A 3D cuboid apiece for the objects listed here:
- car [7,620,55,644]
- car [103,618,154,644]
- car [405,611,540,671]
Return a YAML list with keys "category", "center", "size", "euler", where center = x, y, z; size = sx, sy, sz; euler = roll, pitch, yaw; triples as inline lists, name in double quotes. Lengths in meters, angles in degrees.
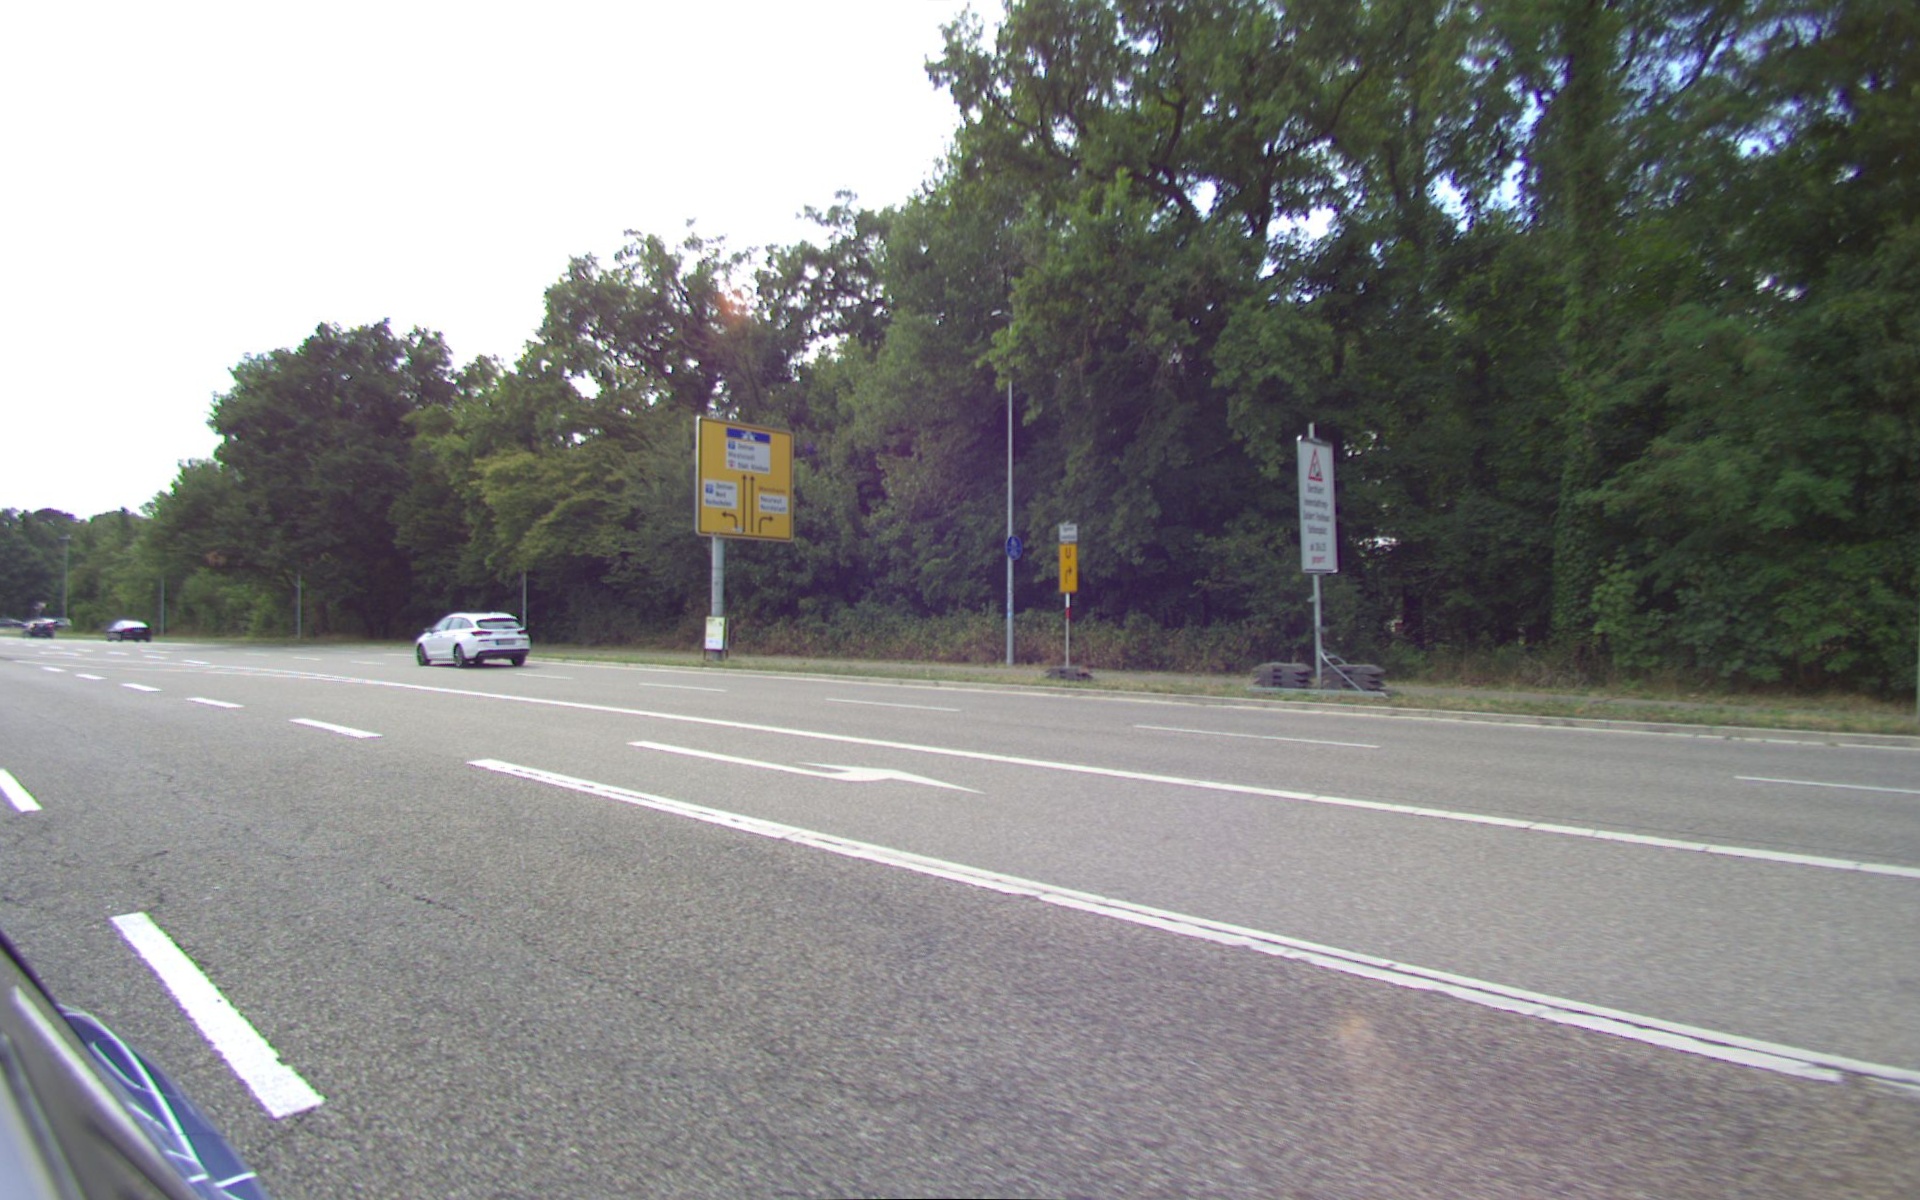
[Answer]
- category: "car"
  center: [-78.599, 2.646, 85.626]
  size: [3.987, 1.896, 1.978]
  euler: [-1, 1, 32]
- category: "car"
  center: [-57.054, 2.121, 69.440]
  size: [3.996, 1.606, 1.974]
  euler: [-1, 1, 39]
- category: "car"
  center: [-13.920, 1.103, 28.802]
  size: [4.592, 1.511, 1.914]
  euler: [0, 1, 43]
